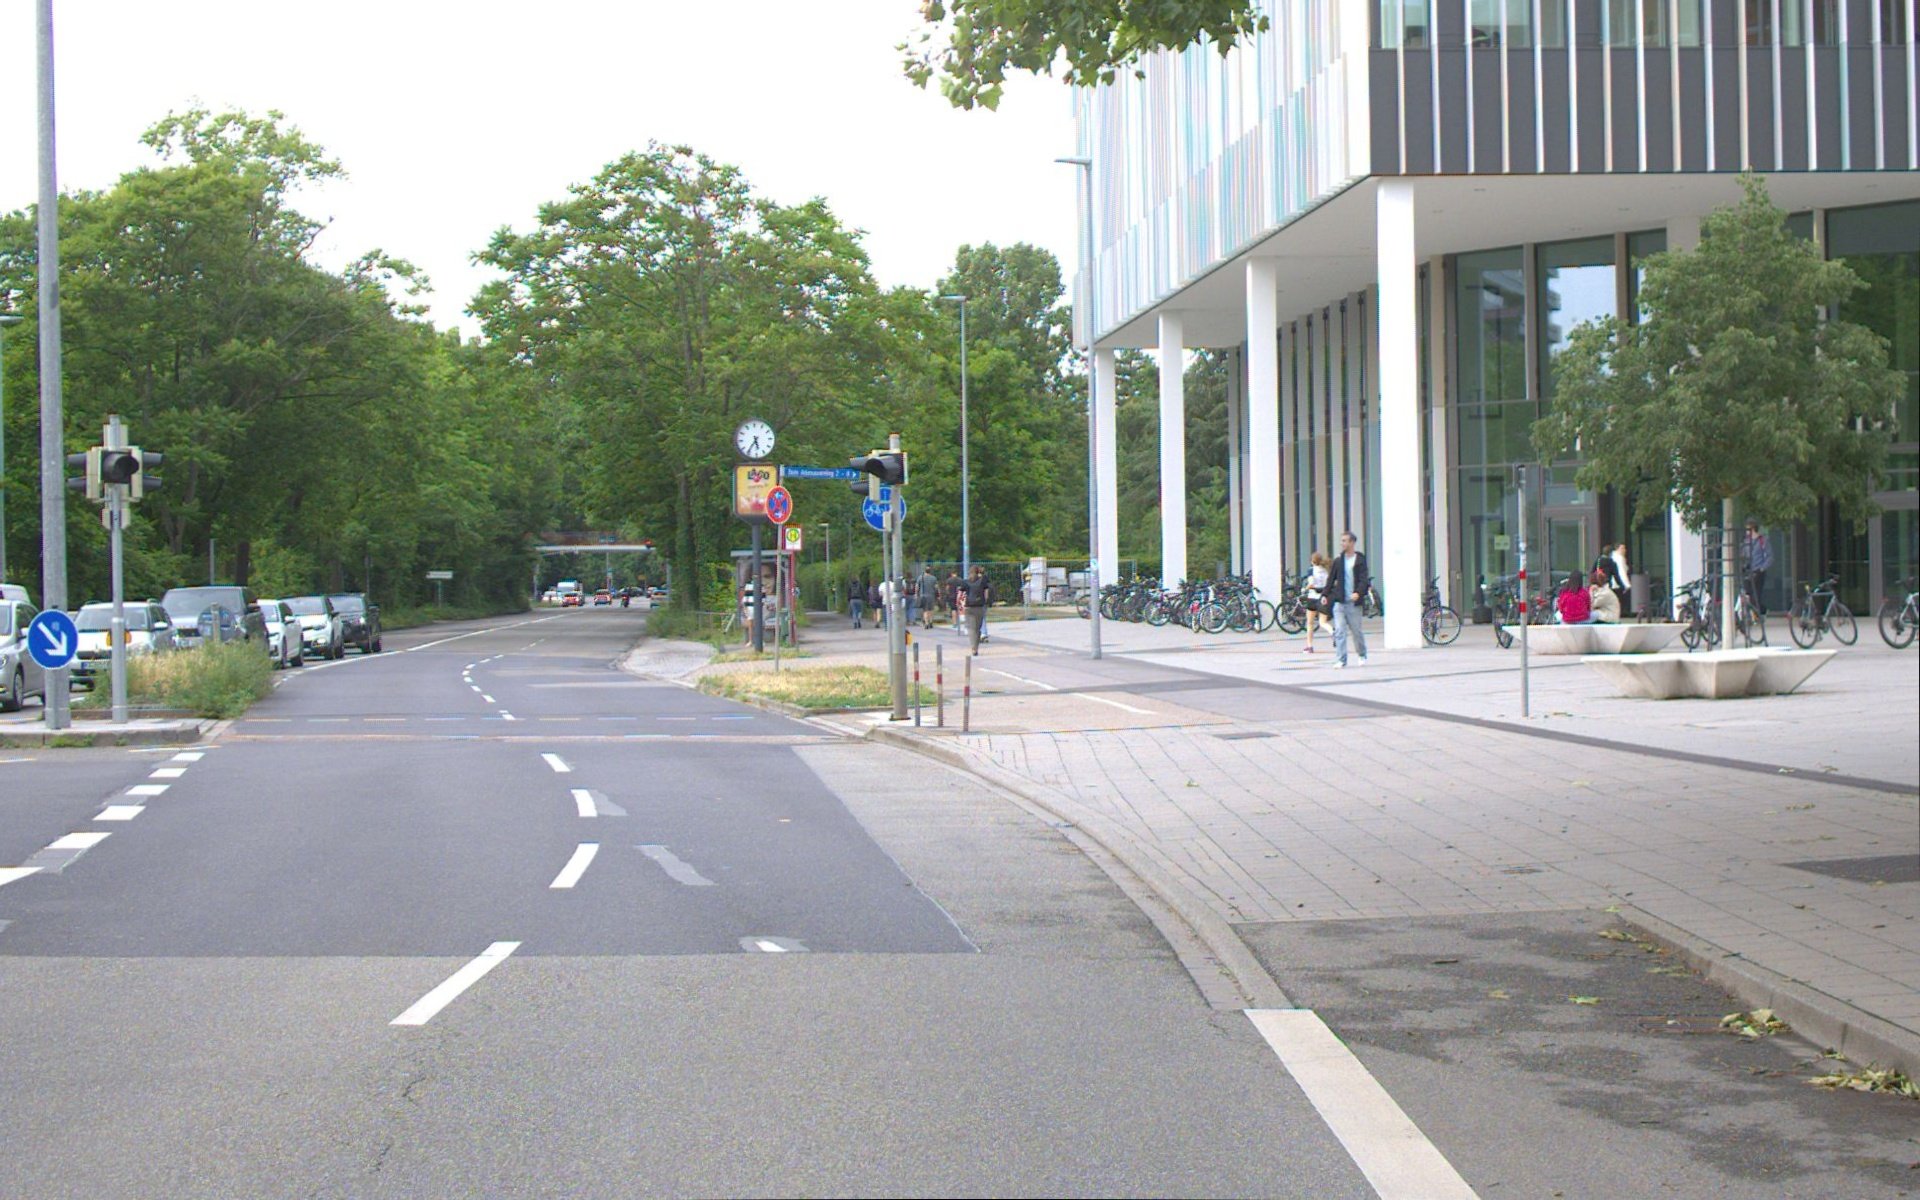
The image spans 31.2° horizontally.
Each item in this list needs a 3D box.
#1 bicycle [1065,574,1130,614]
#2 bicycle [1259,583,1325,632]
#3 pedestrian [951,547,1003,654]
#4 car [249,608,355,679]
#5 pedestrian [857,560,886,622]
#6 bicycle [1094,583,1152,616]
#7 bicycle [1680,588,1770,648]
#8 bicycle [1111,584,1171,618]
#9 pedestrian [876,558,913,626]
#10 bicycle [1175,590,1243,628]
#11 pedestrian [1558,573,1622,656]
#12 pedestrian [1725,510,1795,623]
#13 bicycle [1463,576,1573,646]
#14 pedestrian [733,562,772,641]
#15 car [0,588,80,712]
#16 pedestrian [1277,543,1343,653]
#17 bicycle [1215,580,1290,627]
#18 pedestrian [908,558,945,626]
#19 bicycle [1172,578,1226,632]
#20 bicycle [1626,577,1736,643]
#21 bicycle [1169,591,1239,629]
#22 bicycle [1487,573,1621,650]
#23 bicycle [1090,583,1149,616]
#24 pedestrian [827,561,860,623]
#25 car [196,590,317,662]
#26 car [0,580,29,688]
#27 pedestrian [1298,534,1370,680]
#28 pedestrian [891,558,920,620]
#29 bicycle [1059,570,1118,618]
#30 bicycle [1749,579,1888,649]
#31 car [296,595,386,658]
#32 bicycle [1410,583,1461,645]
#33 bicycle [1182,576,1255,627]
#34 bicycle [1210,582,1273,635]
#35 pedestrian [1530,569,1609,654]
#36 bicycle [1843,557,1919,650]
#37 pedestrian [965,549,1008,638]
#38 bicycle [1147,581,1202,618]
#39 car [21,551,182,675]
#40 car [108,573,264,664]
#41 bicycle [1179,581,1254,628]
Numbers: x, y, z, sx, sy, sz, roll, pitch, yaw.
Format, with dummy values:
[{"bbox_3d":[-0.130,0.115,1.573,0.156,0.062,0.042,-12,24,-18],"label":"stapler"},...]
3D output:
[{"bbox_3d":[4.094,-0.188,102.183,1.794,1.078,0.626,-3,1,-6],"label":"bicycle"},{"bbox_3d":[6.782,0.151,70.192,1.484,0.926,0.440,-3,2,-43],"label":"bicycle"},{"bbox_3d":[0.322,0.009,66.334,0.842,2.007,0.894,-3,0,-3],"label":"pedestrian"},{"bbox_3d":[-15.787,1.017,82.660,1.993,1.541,4.180,-3,0,-4],"label":"car"},{"bbox_3d":[-2.887,-0.304,112.470,0.823,2.007,0.720,-1,0,-9],"label":"pedestrian"},{"bbox_3d":[4.701,-0.019,99.259,1.606,0.872,0.556,-2,0,-3],"label":"bicycle"},{"bbox_3d":[12.066,0.281,54.183,0.671,0.896,1.842,-1,1,37],"label":"bicycle"},{"bbox_3d":[5.078,0.025,96.487,1.606,0.872,0.556,-2,0,-3],"label":"bicycle"},{"bbox_3d":[-1.959,-0.227,103.031,0.925,2.007,1.040,-1,0,-9],"label":"pedestrian"},{"bbox_3d":[6.128,0.225,84.507,1.606,0.893,0.366,-1,0,-3],"label":"bicycle"},{"bbox_3d":[9.221,0.213,50.326,0.892,1.189,0.845,-1,0,10],"label":"pedestrian"},{"bbox_3d":[14.653,-0.612,62.991,1.182,2.055,1.135,1,0,11],"label":"pedestrian"},{"bbox_3d":[9.437,0.180,58.070,0.736,1.112,2.178,-1,1,43],"label":"bicycle"},{"bbox_3d":[-5.450,0.034,90.352,0.912,2.006,0.854,-3,2,-5],"label":"pedestrian"},{"bbox_3d":[-13.702,0.660,47.760,1.957,1.578,4.256,0,1,-2],"label":"car"},{"bbox_3d":[5.964,-0.036,58.621,0.842,1.829,0.894,-1,0,-14],"label":"pedestrian"},{"bbox_3d":[6.623,0.077,77.813,1.606,0.932,0.568,-4,1,7],"label":"bicycle"},{"bbox_3d":[-1.014,-0.232,103.218,0.925,2.007,1.040,-1,0,-9],"label":"pedestrian"},{"bbox_3d":[5.201,0.107,75.036,0.635,1.136,2.201,-4,1,-9],"label":"bicycle"},{"bbox_3d":[11.508,0.158,54.860,0.774,0.998,1.955,-1,1,44],"label":"bicycle"},{"bbox_3d":[5.830,0.230,82.180,1.606,0.872,0.556,-1,0,-4],"label":"bicycle"},{"bbox_3d":[9.809,0.185,56.691,0.774,1.184,2.713,-1,1,44],"label":"bicycle"},{"bbox_3d":[4.569,-0.005,98.663,1.606,0.872,0.556,-2,0,-3],"label":"bicycle"},{"bbox_3d":[-3.819,-0.262,112.395,0.925,2.007,1.040,-1,0,-9],"label":"pedestrian"},{"bbox_3d":[-14.952,0.531,73.281,1.903,1.460,4.911,1,0,-4],"label":"car"},{"bbox_3d":[-17.318,0.577,58.870,1.771,1.841,4.489,1,0,-4],"label":"car"},{"bbox_3d":[5.235,0.092,48.177,0.842,2.007,0.894,-1,0,-3],"label":"pedestrian"},{"bbox_3d":[-1.781,-0.367,112.537,0.824,2.007,0.720,-2,0,-5],"label":"pedestrian"},{"bbox_3d":[3.888,-0.180,103.951,1.648,1.329,0.463,-3,0,9],"label":"bicycle"},{"bbox_3d":[13.166,0.206,52.705,2.185,1.002,0.782,-2,0,-34],"label":"bicycle"},{"bbox_3d":[-16.704,0.701,92.906,1.902,1.588,4.517,-1,0,-4],"label":"car"},{"bbox_3d":[8.317,0.234,60.147,0.638,1.058,1.840,1,0,0],"label":"bicycle"},{"bbox_3d":[6.079,0.026,80.851,1.644,1.087,0.572,-4,0,4],"label":"bicycle"},{"bbox_3d":[5.911,0.178,72.273,0.607,1.076,1.963,-3,1,-16],"label":"bicycle"},{"bbox_3d":[8.817,0.165,49.699,0.844,1.202,0.893,-1,0,30],"label":"pedestrian"},{"bbox_3d":[14.237,0.033,51.428,2.001,1.301,0.646,-3,2,-26],"label":"bicycle"},{"bbox_3d":[0.596,-0.147,78.160,0.842,2.007,0.894,-1,0,-5],"label":"pedestrian"},{"bbox_3d":[5.336,-0.011,85.547,1.283,0.872,0.556,-2,0,-4],"label":"bicycle"},{"bbox_3d":[-14.739,0.210,59.190,1.993,2.007,4.001,-1,0,-4],"label":"car"},{"bbox_3d":[-14.946,0.327,66.661,1.993,1.681,4.948,0,0,-1],"label":"car"},{"bbox_3d":[5.918,0.098,79.253,1.606,0.979,0.556,-4,0,-3],"label":"bicycle"}]
